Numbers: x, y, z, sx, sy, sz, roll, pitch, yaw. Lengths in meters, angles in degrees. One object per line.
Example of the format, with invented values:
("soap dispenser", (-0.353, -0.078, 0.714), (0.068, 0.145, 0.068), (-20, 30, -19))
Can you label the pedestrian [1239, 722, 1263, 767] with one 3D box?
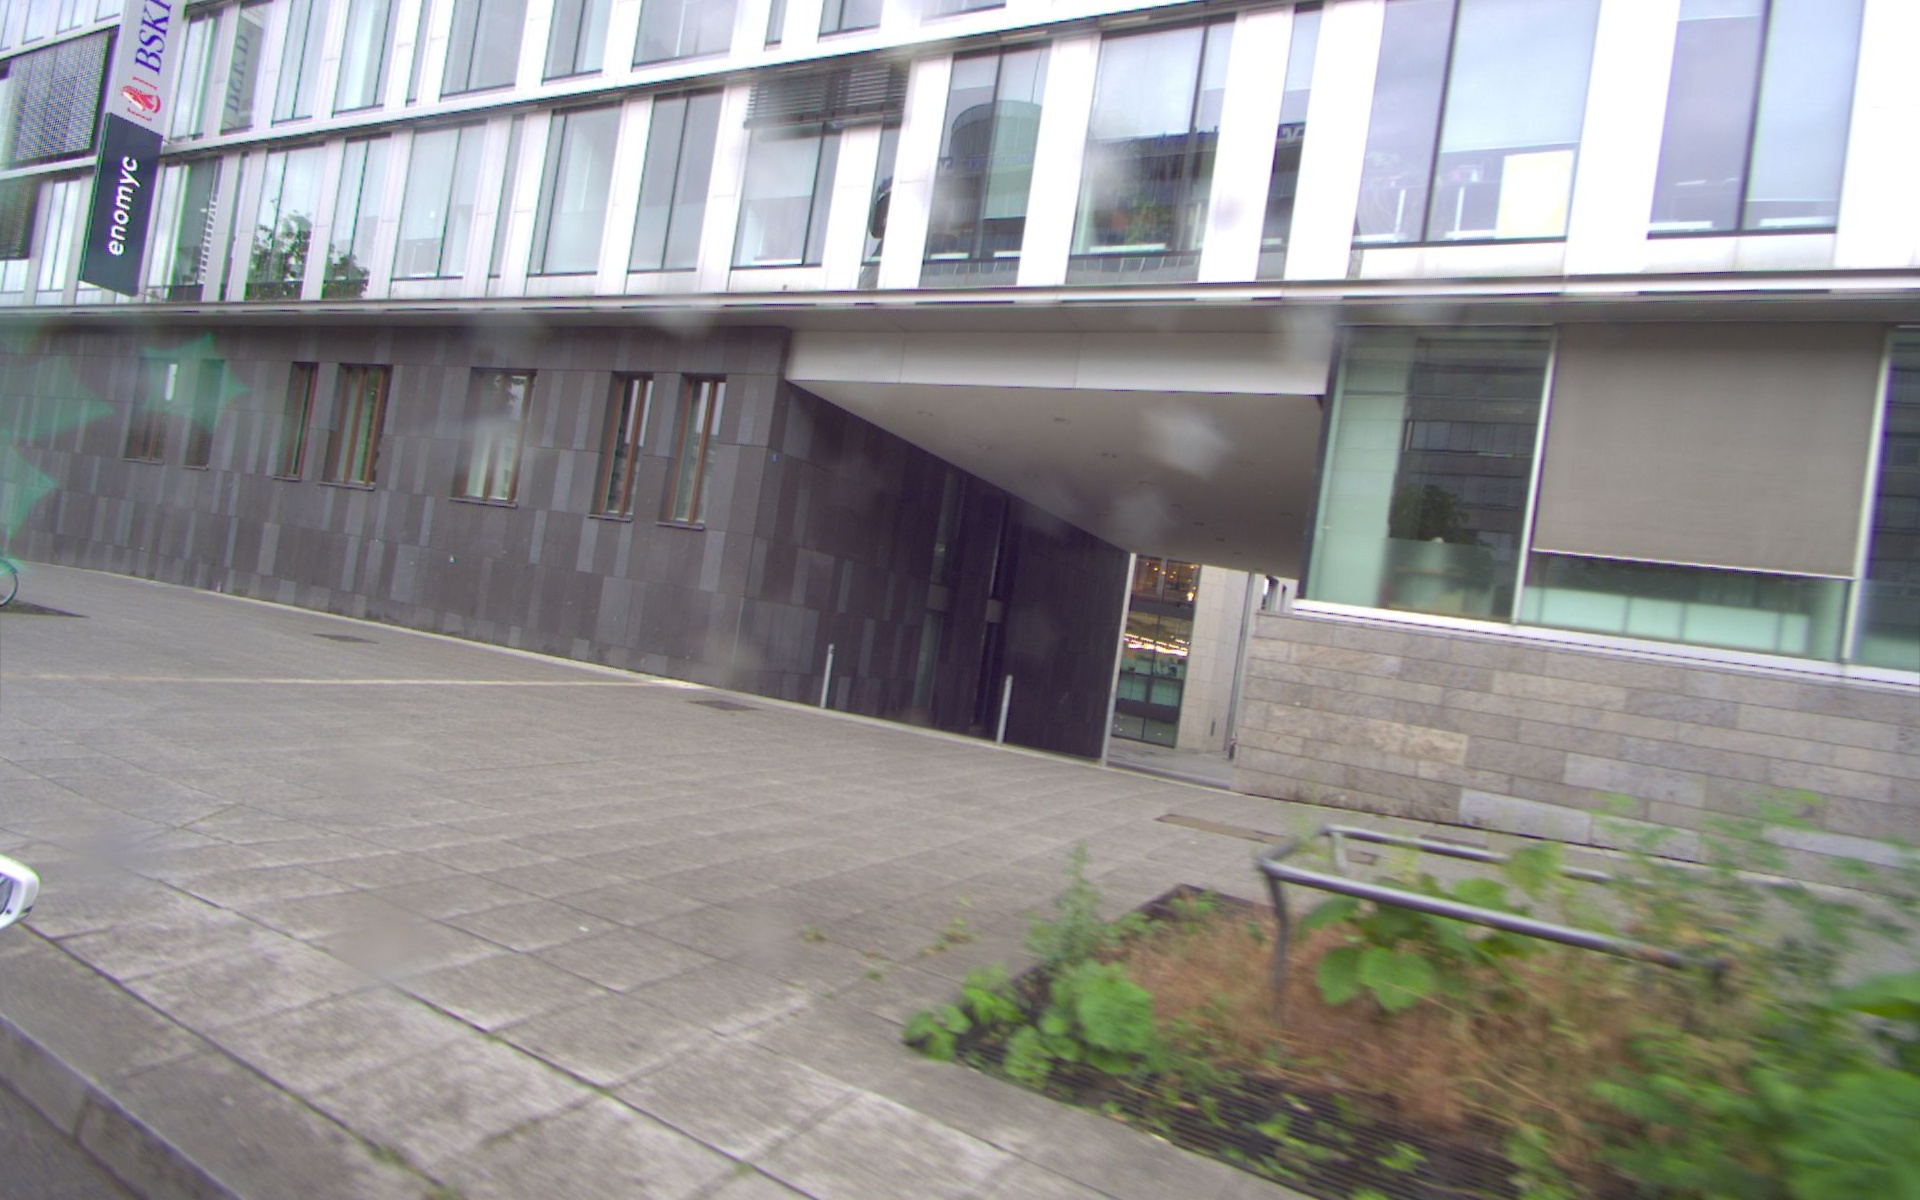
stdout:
("pedestrian", (12.482, 6.197, 43.114), (0.689, 1.795, 0.593), (7, -3, 24))

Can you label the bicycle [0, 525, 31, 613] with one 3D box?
("bicycle", (-12.597, -0.477, 12.207), (0.676, 1.082, 1.736), (7, -1, 22))

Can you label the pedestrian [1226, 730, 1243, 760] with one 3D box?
("pedestrian", (12.517, 6.618, 45.902), (0.556, 1.256, 0.463), (7, -3, 24))

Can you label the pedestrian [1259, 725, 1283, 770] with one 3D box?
("pedestrian", (13.167, 6.253, 42.614), (0.689, 1.795, 0.593), (7, -3, 24))
